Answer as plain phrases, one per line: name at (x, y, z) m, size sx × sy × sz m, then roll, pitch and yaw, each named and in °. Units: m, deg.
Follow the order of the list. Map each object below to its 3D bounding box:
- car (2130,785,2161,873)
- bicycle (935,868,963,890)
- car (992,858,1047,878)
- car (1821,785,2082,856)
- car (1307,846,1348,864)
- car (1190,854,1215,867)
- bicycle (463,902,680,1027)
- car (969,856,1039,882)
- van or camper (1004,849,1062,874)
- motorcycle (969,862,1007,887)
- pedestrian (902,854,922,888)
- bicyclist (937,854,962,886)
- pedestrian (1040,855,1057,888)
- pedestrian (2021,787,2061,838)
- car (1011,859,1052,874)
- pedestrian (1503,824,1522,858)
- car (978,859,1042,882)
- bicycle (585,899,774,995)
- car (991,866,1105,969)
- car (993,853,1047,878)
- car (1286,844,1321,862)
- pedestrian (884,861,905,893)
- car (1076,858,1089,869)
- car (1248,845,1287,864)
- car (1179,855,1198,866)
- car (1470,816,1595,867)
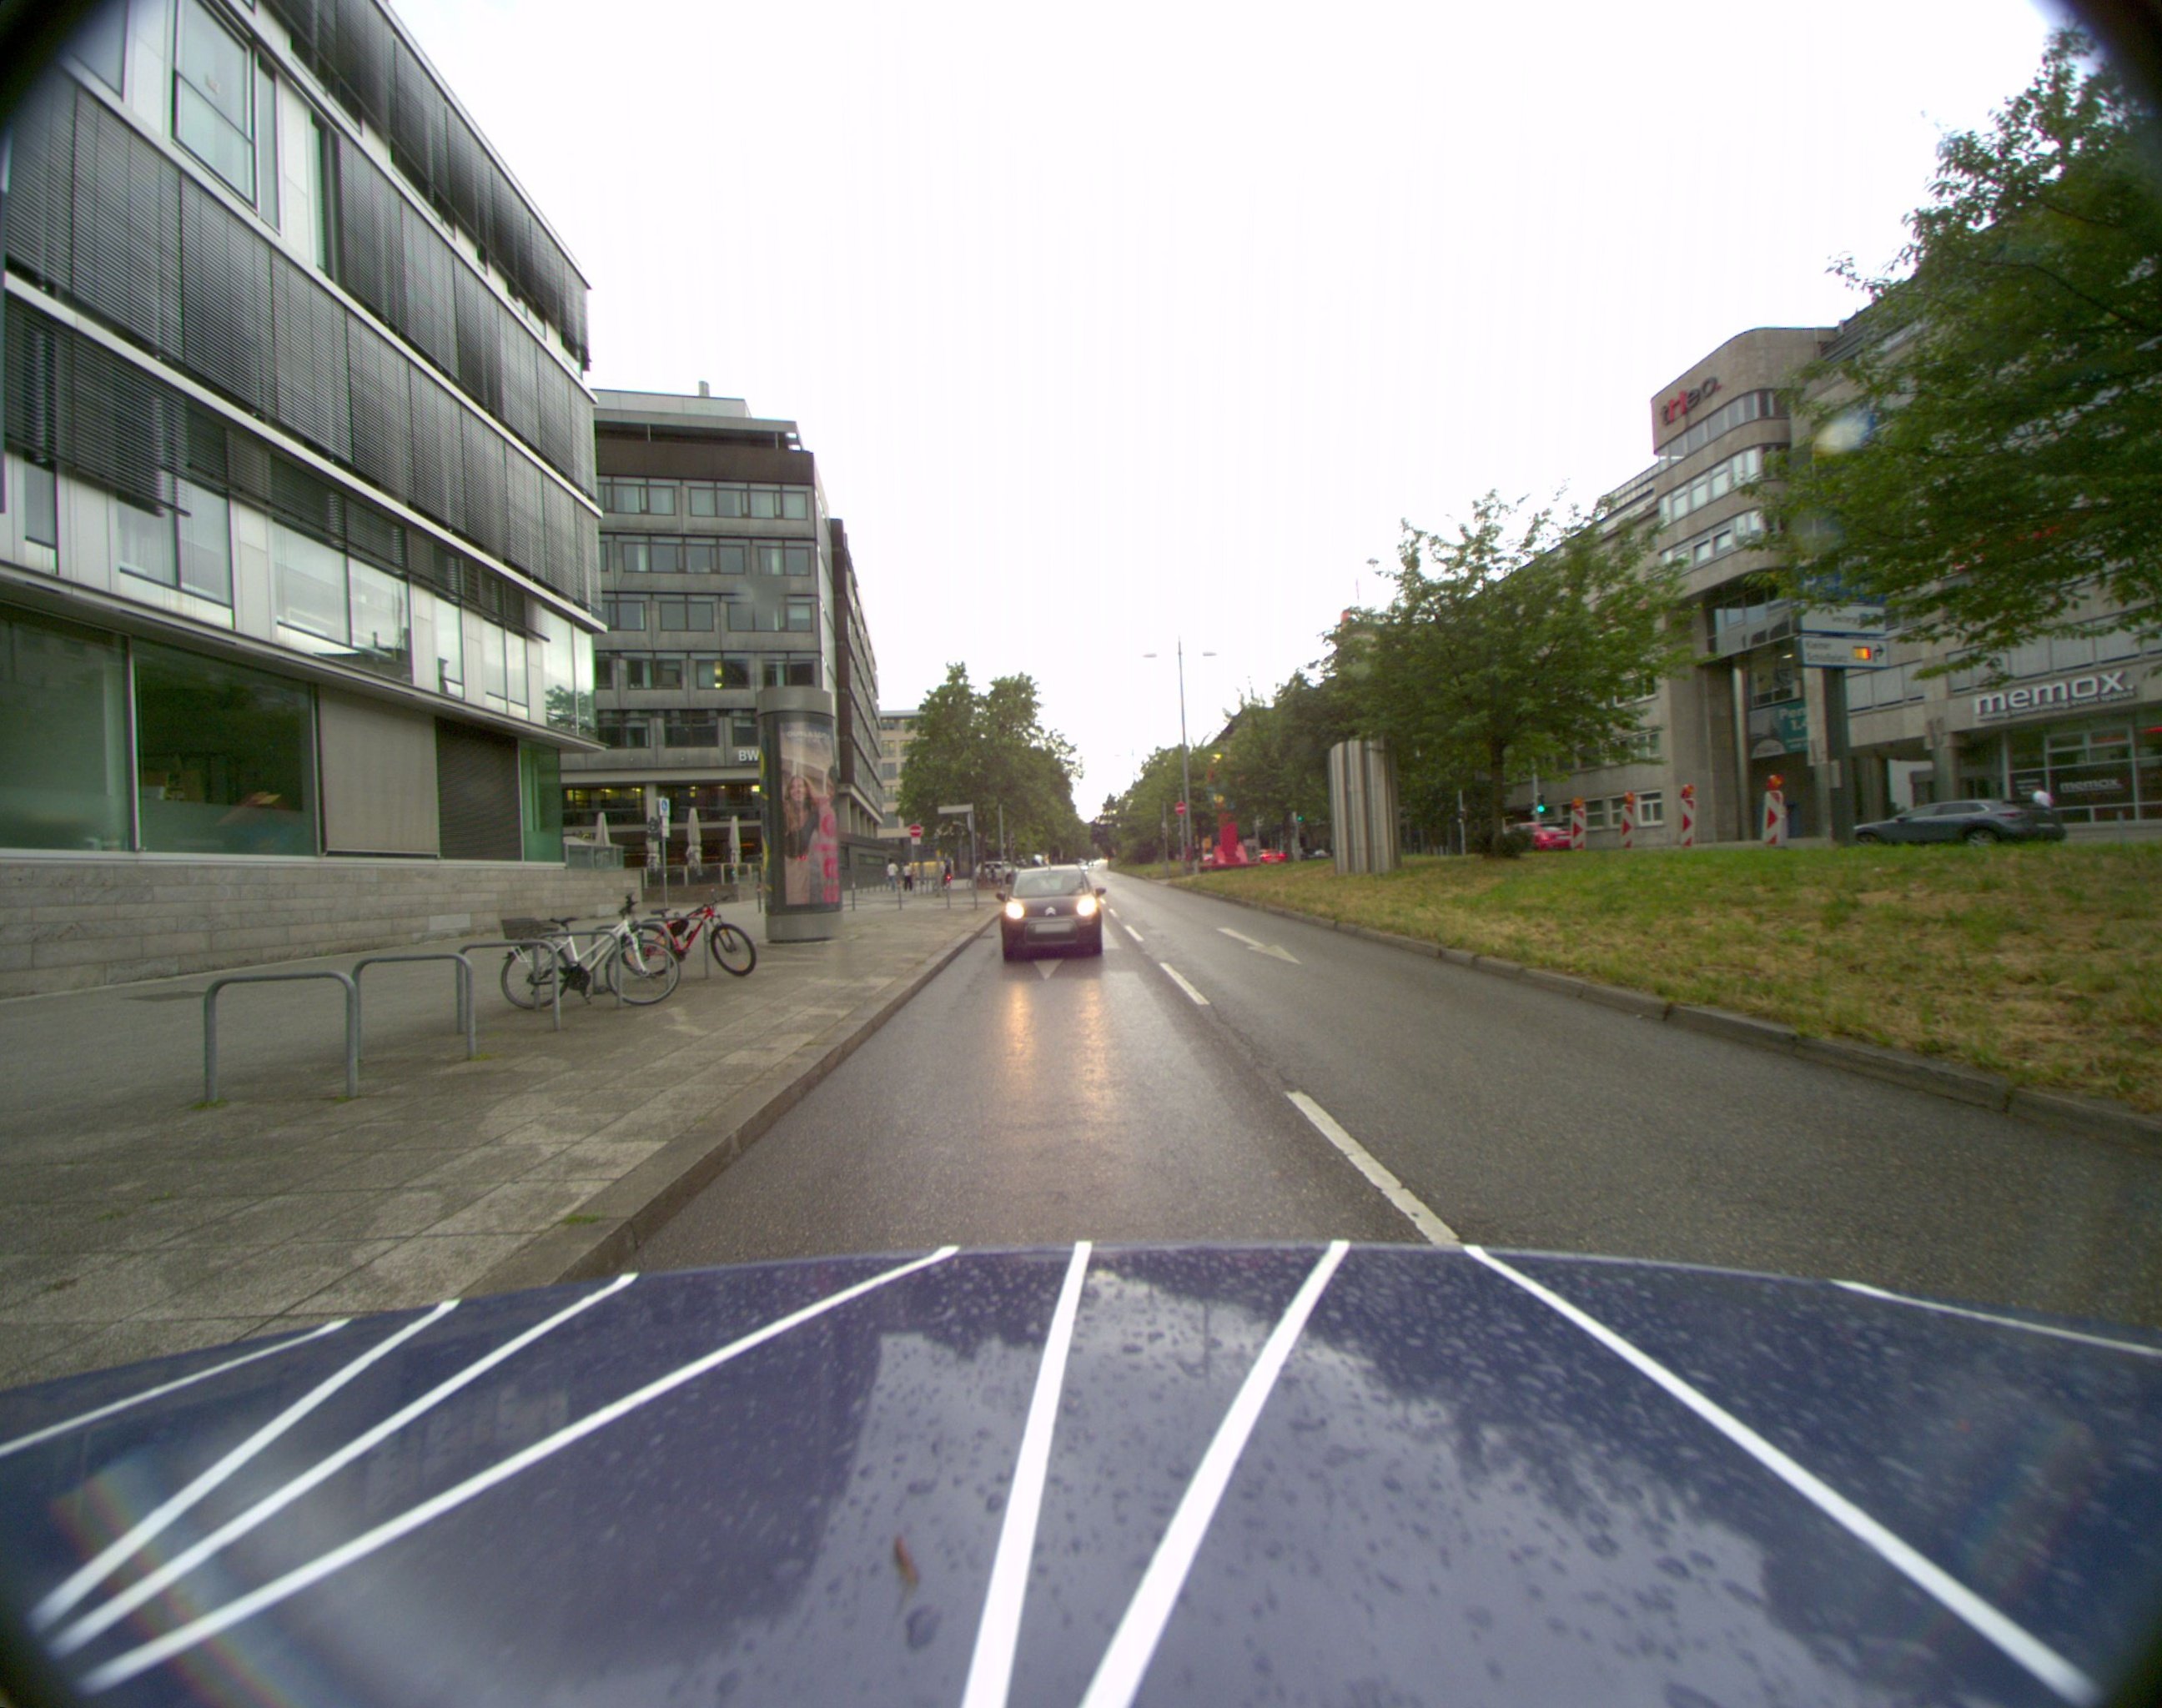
car at (19.192, -0.471, 11.163) m, size 1.874 × 1.466 × 3.997 m, roll -3°, pitch 0°, yaw -8°
bicycle at (-7.625, 1.468, 43.965) m, size 0.778 × 1.132 × 1.974 m, roll -6°, pitch 0°, yaw -33°
car at (-5.383, 1.216, 66.376) m, size 4.381 × 1.528 × 1.919 m, roll -4°, pitch 0°, yaw 27°
car at (24.736, -0.855, 21.938) m, size 1.867 × 1.715 × 4.791 m, roll -2°, pitch 0°, yaw -3°
car at (21.670, 0.089, 66.919) m, size 1.867 × 1.421 × 4.565 m, roll -2°, pitch -1°, yaw -3°
car at (13.371, 0.723, 83.638) m, size 1.866 × 1.421 × 4.566 m, roll -2°, pitch -1°, yaw -1°
bicycle at (-5.304, 1.140, 7.965) m, size 1.840 × 1.190 × 0.660 m, roll -1°, pitch 0°, yaw 4°
car at (-5.652, 1.116, 55.610) m, size 4.792 × 1.640 × 1.920 m, roll -4°, pitch 0°, yaw 30°
van or camper at (-5.484, 0.860, 86.471) m, size 6.250 × 2.432 × 2.319 m, roll -4°, pitch 0°, yaw 30°
motorcycle at (-5.653, 1.252, 46.069) m, size 2.087 × 1.349 × 0.677 m, roll -3°, pitch 0°, yaw 7°
pedestrian at (-10.397, 1.017, 46.681) m, size 0.851 × 2.027 × 0.754 m, roll -3°, pitch 0°, yaw 10°
bicyclist at (-7.620, 0.954, 43.923) m, size 0.813 × 1.739 × 1.077 m, roll -7°, pitch 2°, yaw -39°
pedestrian at (-1.688, 0.900, 39.359) m, size 0.528 × 1.675 × 0.722 m, roll -3°, pitch 0°, yaw 26°
pedestrian at (34.936, -1.514, 27.654) m, size 0.721 × 1.777 × 0.529 m, roll -3°, pitch 0°, yaw -2°
car at (-5.403, 1.345, 82.704) m, size 4.052 × 1.415 × 1.711 m, roll -4°, pitch 0°, yaw 29°
pedestrian at (23.409, -0.692, 41.238) m, size 0.529 × 1.777 × 0.721 m, roll -3°, pitch 0°, yaw 1°
car at (-5.512, 1.276, 58.889) m, size 4.711 × 1.465 × 1.920 m, roll -4°, pitch 0°, yaw 32°
bicycle at (-5.145, 1.184, 9.817) m, size 1.988 × 1.097 × 0.808 m, roll -2°, pitch 0°, yaw 4°
car at (-0.572, 0.987, 13.364) m, size 1.634 × 1.408 × 3.834 m, roll -3°, pitch 0°, yaw -2°
car at (-5.546, 1.077, 69.257) m, size 4.507 × 1.981 × 1.925 m, roll -4°, pitch 0°, yaw 29°
car at (21.066, -0.067, 72.106) m, size 1.867 × 1.612 × 4.467 m, roll -2°, pitch 0°, yaw -3°
pedestrian at (-11.395, 1.411, 46.418) m, size 0.802 × 1.857 × 0.899 m, roll -3°, pitch 0°, yaw 11°
car at (0.241, 1.650, 128.638) m, size 1.791 × 1.736 × 4.574 m, roll -2°, pitch 0°, yaw -3°
car at (14.971, 0.038, 61.264) m, size 1.867 × 1.421 × 4.131 m, roll -2°, pitch 0°, yaw -4°
car at (14.294, 0.848, 101.131) m, size 1.794 × 1.406 × 4.000 m, roll -1°, pitch -1°, yaw -1°
car at (16.958, -0.430, 28.800) m, size 1.951 × 1.690 × 3.997 m, roll -3°, pitch 0°, yaw -8°
